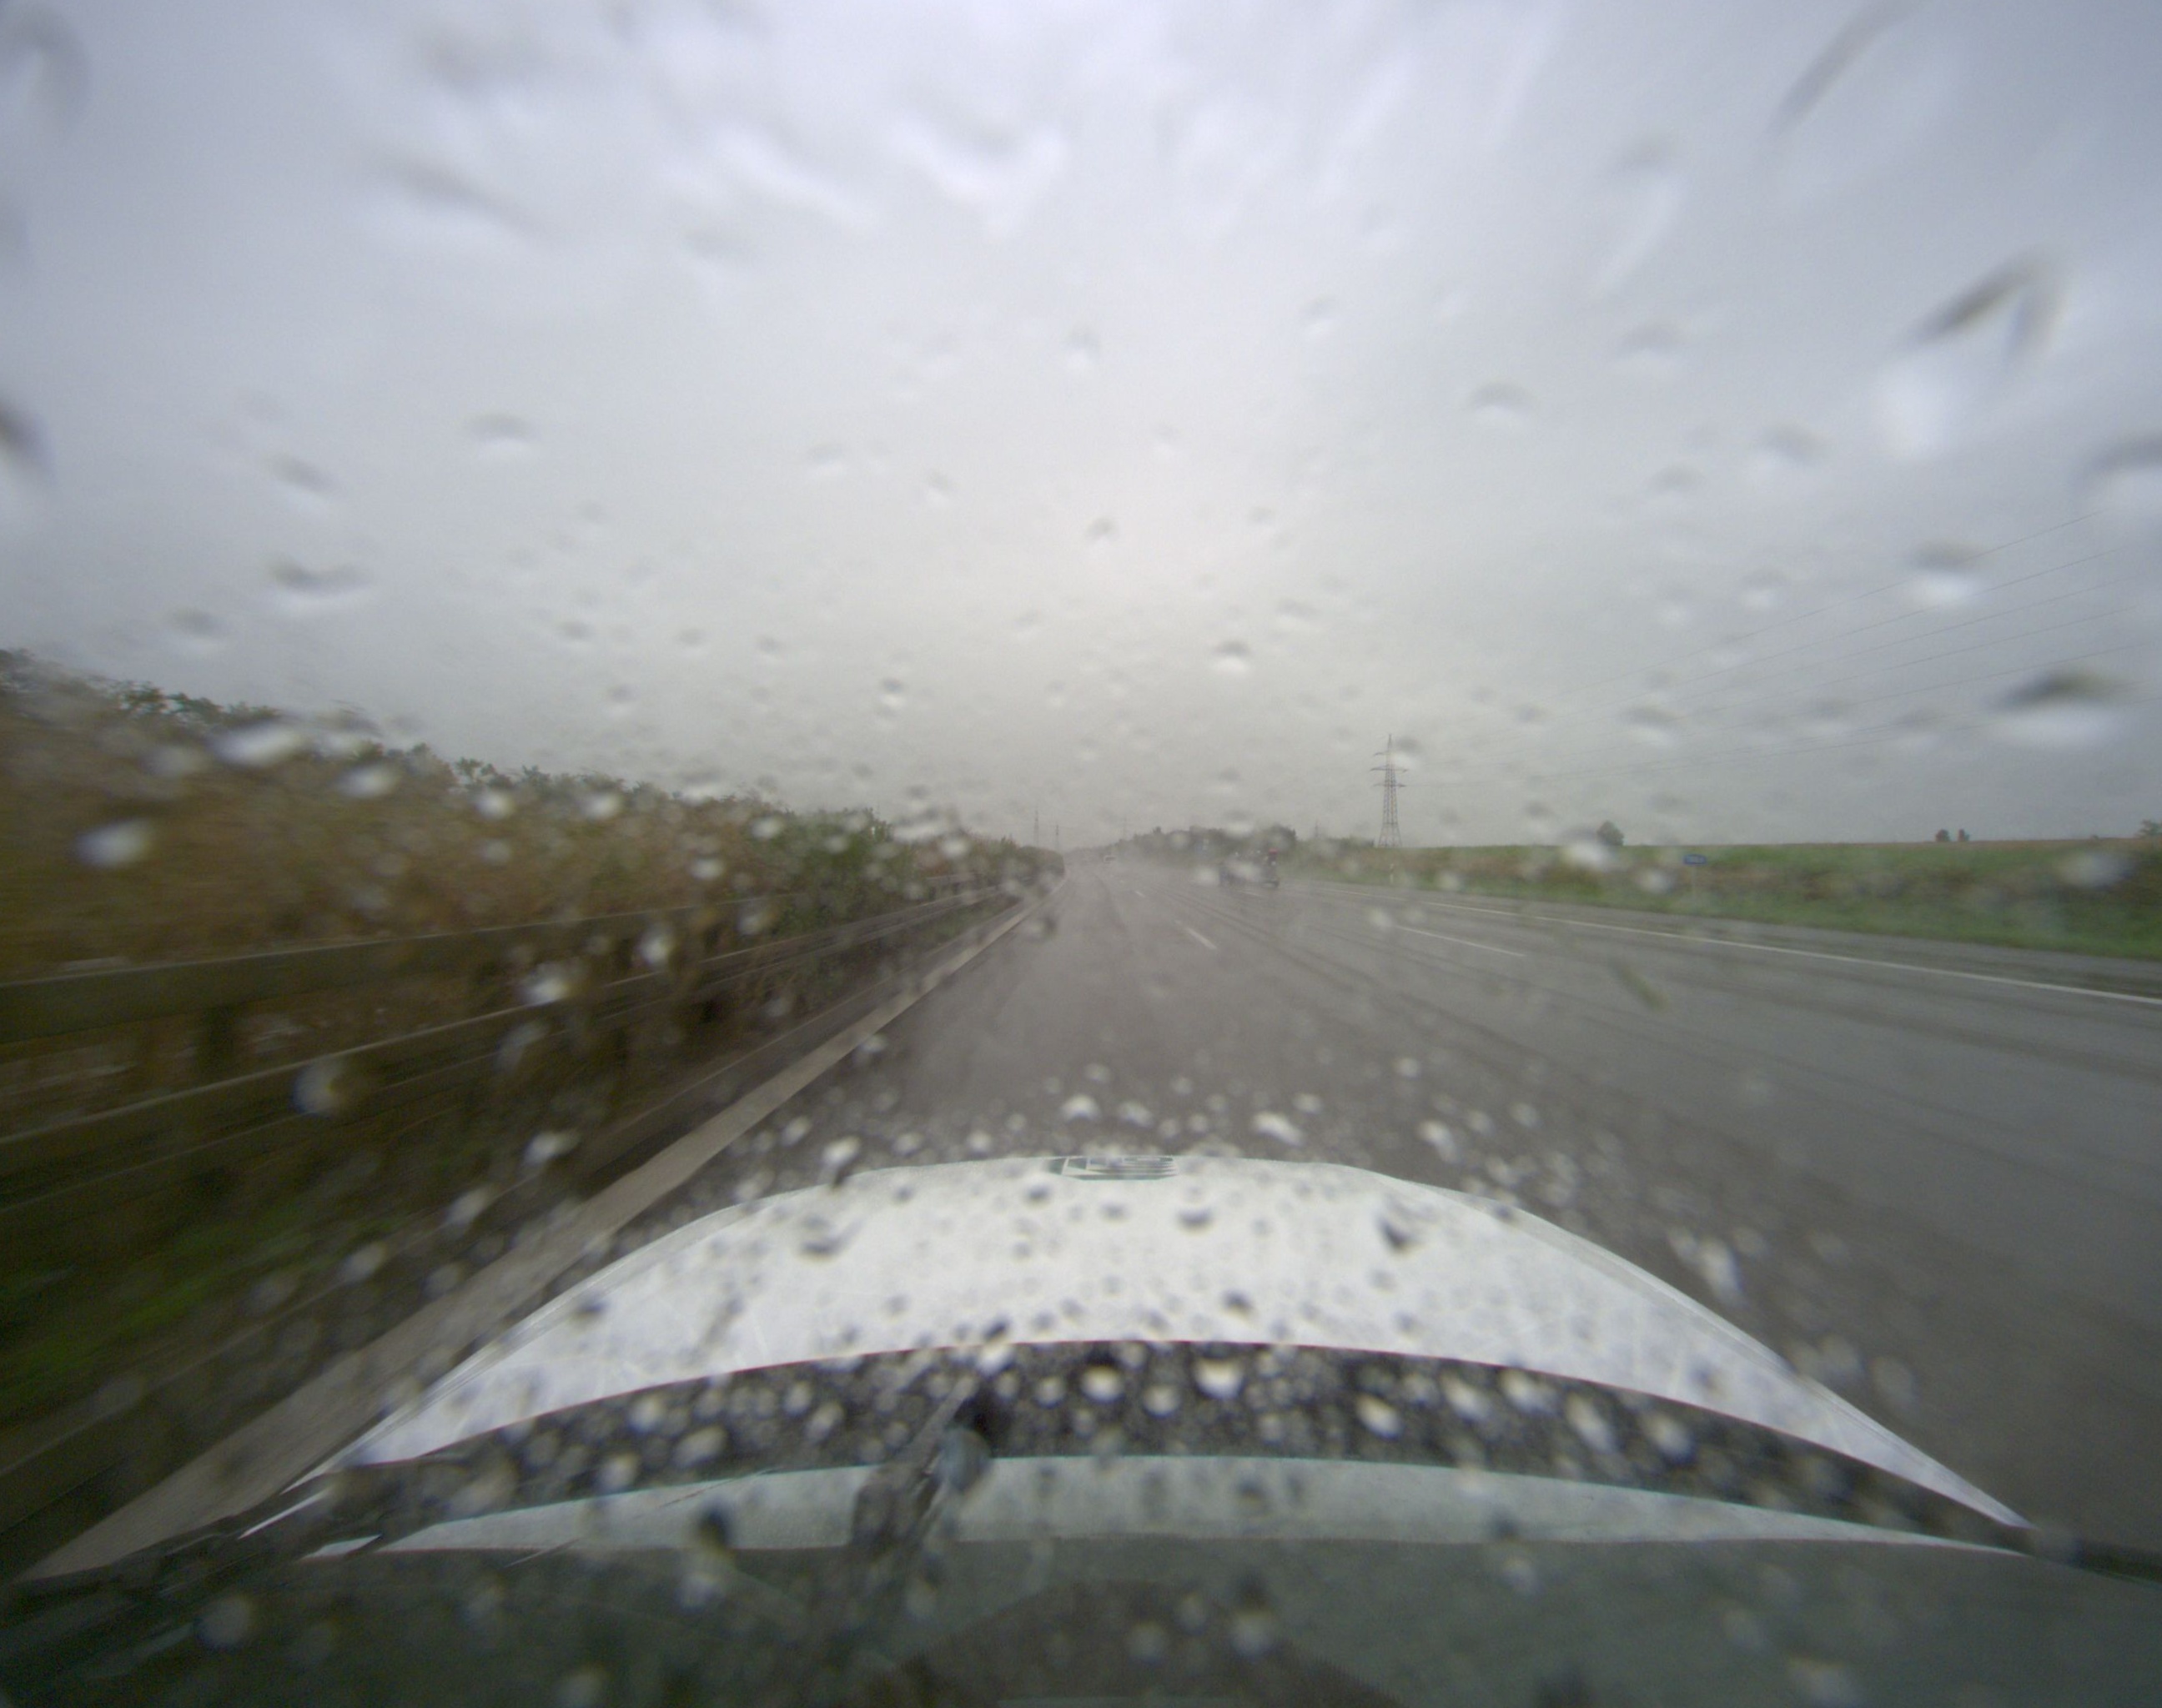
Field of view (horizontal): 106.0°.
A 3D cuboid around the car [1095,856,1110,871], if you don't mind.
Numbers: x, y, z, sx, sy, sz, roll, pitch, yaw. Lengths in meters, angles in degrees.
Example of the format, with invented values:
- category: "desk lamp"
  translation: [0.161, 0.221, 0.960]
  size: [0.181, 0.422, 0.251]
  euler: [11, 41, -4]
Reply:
- category: "car"
  translation: [2.924, 1.377, 113.178]
  size: [1.987, 2.014, 4.000]
  euler: [-1, 0, 0]

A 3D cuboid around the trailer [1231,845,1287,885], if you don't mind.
- category: "trailer"
  translation: [8.549, 0.545, 39.351]
  size: [1.972, 1.785, 3.188]
  euler: [-1, -1, 0]

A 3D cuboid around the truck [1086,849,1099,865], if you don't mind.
- category: "truck"
  translation: [3.148, 0.866, 223.896]
  size: [3.224, 4.311, 8.830]
  euler: [-1, 0, -2]

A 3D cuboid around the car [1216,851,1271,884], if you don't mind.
- category: "car"
  translation: [8.570, 0.708, 43.426]
  size: [1.986, 1.619, 4.993]
  euler: [-1, -1, 1]

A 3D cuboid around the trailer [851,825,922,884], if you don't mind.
- category: "trailer"
  translation: [-15.360, 0.077, 65.503]
  size: [2.509, 4.221, 12.942]
  euler: [-1, 0, 0]

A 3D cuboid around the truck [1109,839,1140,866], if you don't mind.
- category: "truck"
  translation: [8.019, -0.099, 152.929]
  size: [4.179, 4.630, 16.086]
  euler: [-1, -1, -3]
